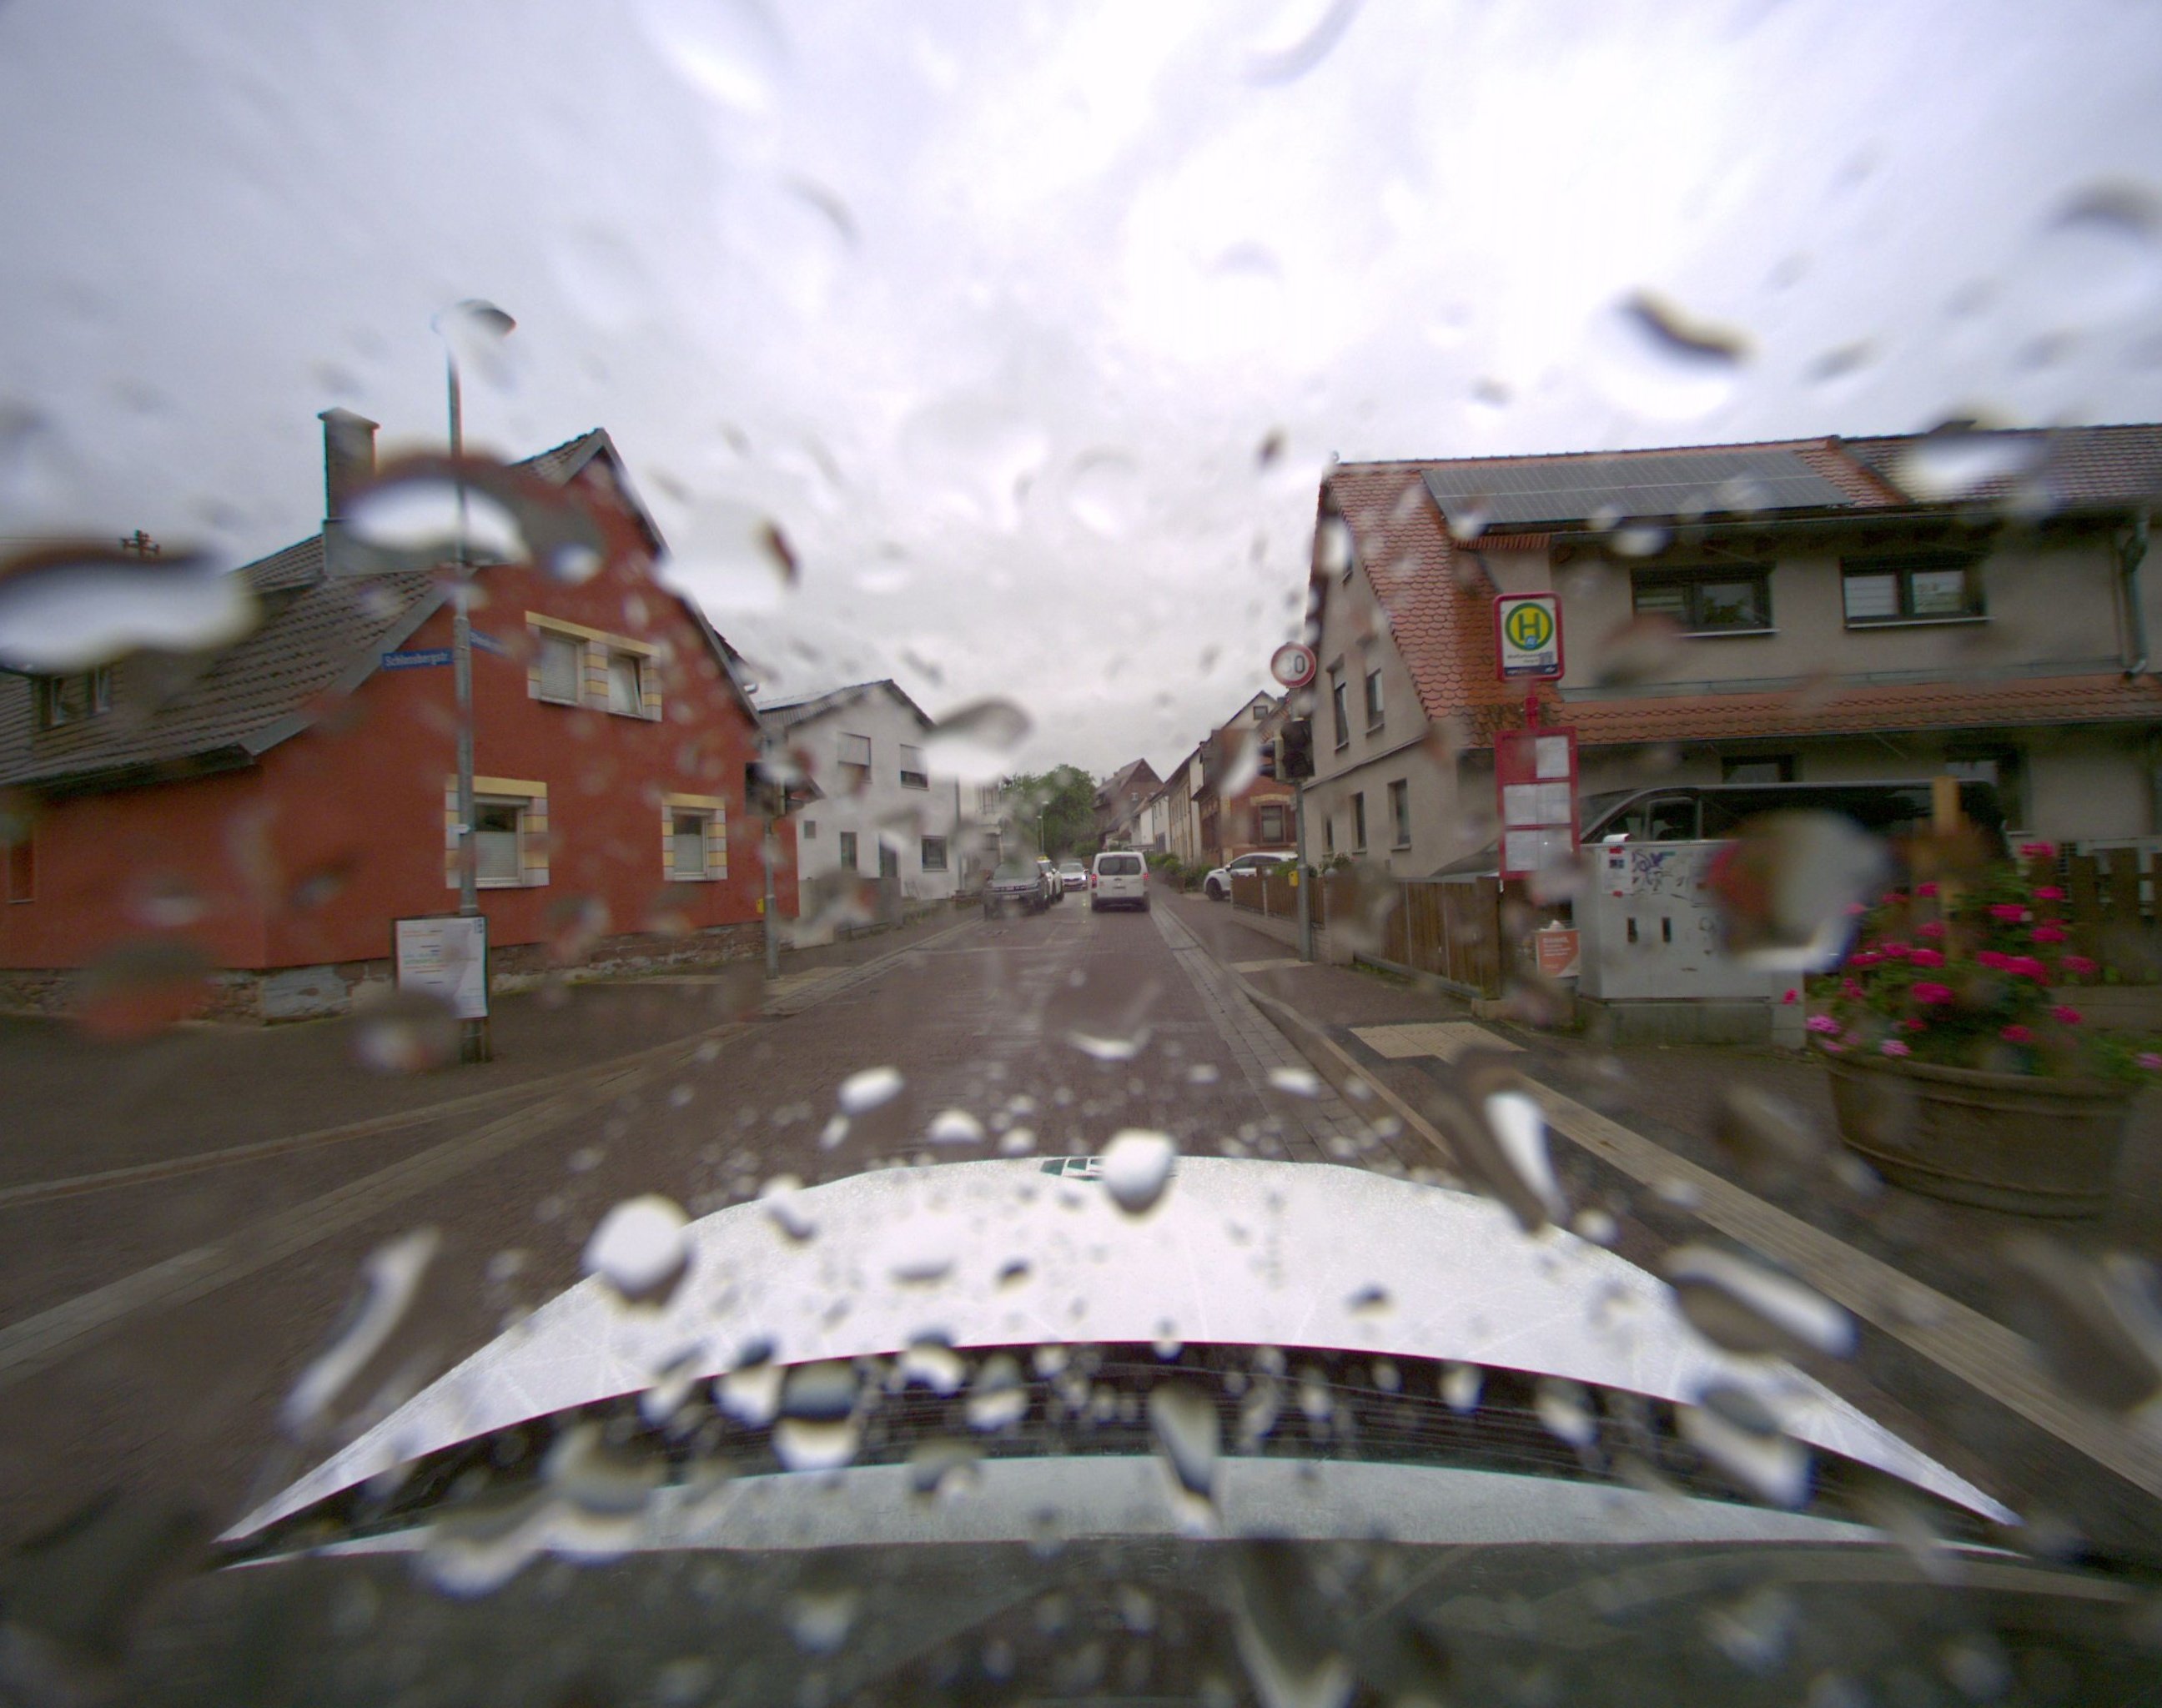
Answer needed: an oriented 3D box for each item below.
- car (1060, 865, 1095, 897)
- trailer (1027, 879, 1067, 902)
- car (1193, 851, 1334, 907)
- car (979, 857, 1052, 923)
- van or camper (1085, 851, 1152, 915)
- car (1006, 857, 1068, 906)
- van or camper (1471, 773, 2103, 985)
[{"bbox_3d":[-0.216,1.468,44.361,1.684,1.565,3.930,-3,-2,-3],"label":"car"},{"bbox_3d":[-1.450,1.564,35.483,1.477,0.829,2.677,-5,-2,2],"label":"trailer"},{"bbox_3d":[5.807,0.730,26.474,1.883,1.590,4.575,-1,1,-30],"label":"car"},{"bbox_3d":[-1.968,1.043,25.636,1.806,1.779,4.018,-3,0,1],"label":"car"},{"bbox_3d":[1.193,0.858,25.883,1.936,1.851,4.002,-1,0,2],"label":"van or camper"},{"bbox_3d":[-1.634,1.047,31.779,1.741,1.636,4.423,-5,-1,4],"label":"car"},{"bbox_3d":[7.057,0.232,8.540,5.054,1.923,1.875,-1,-1,-1],"label":"van or camper"}]
